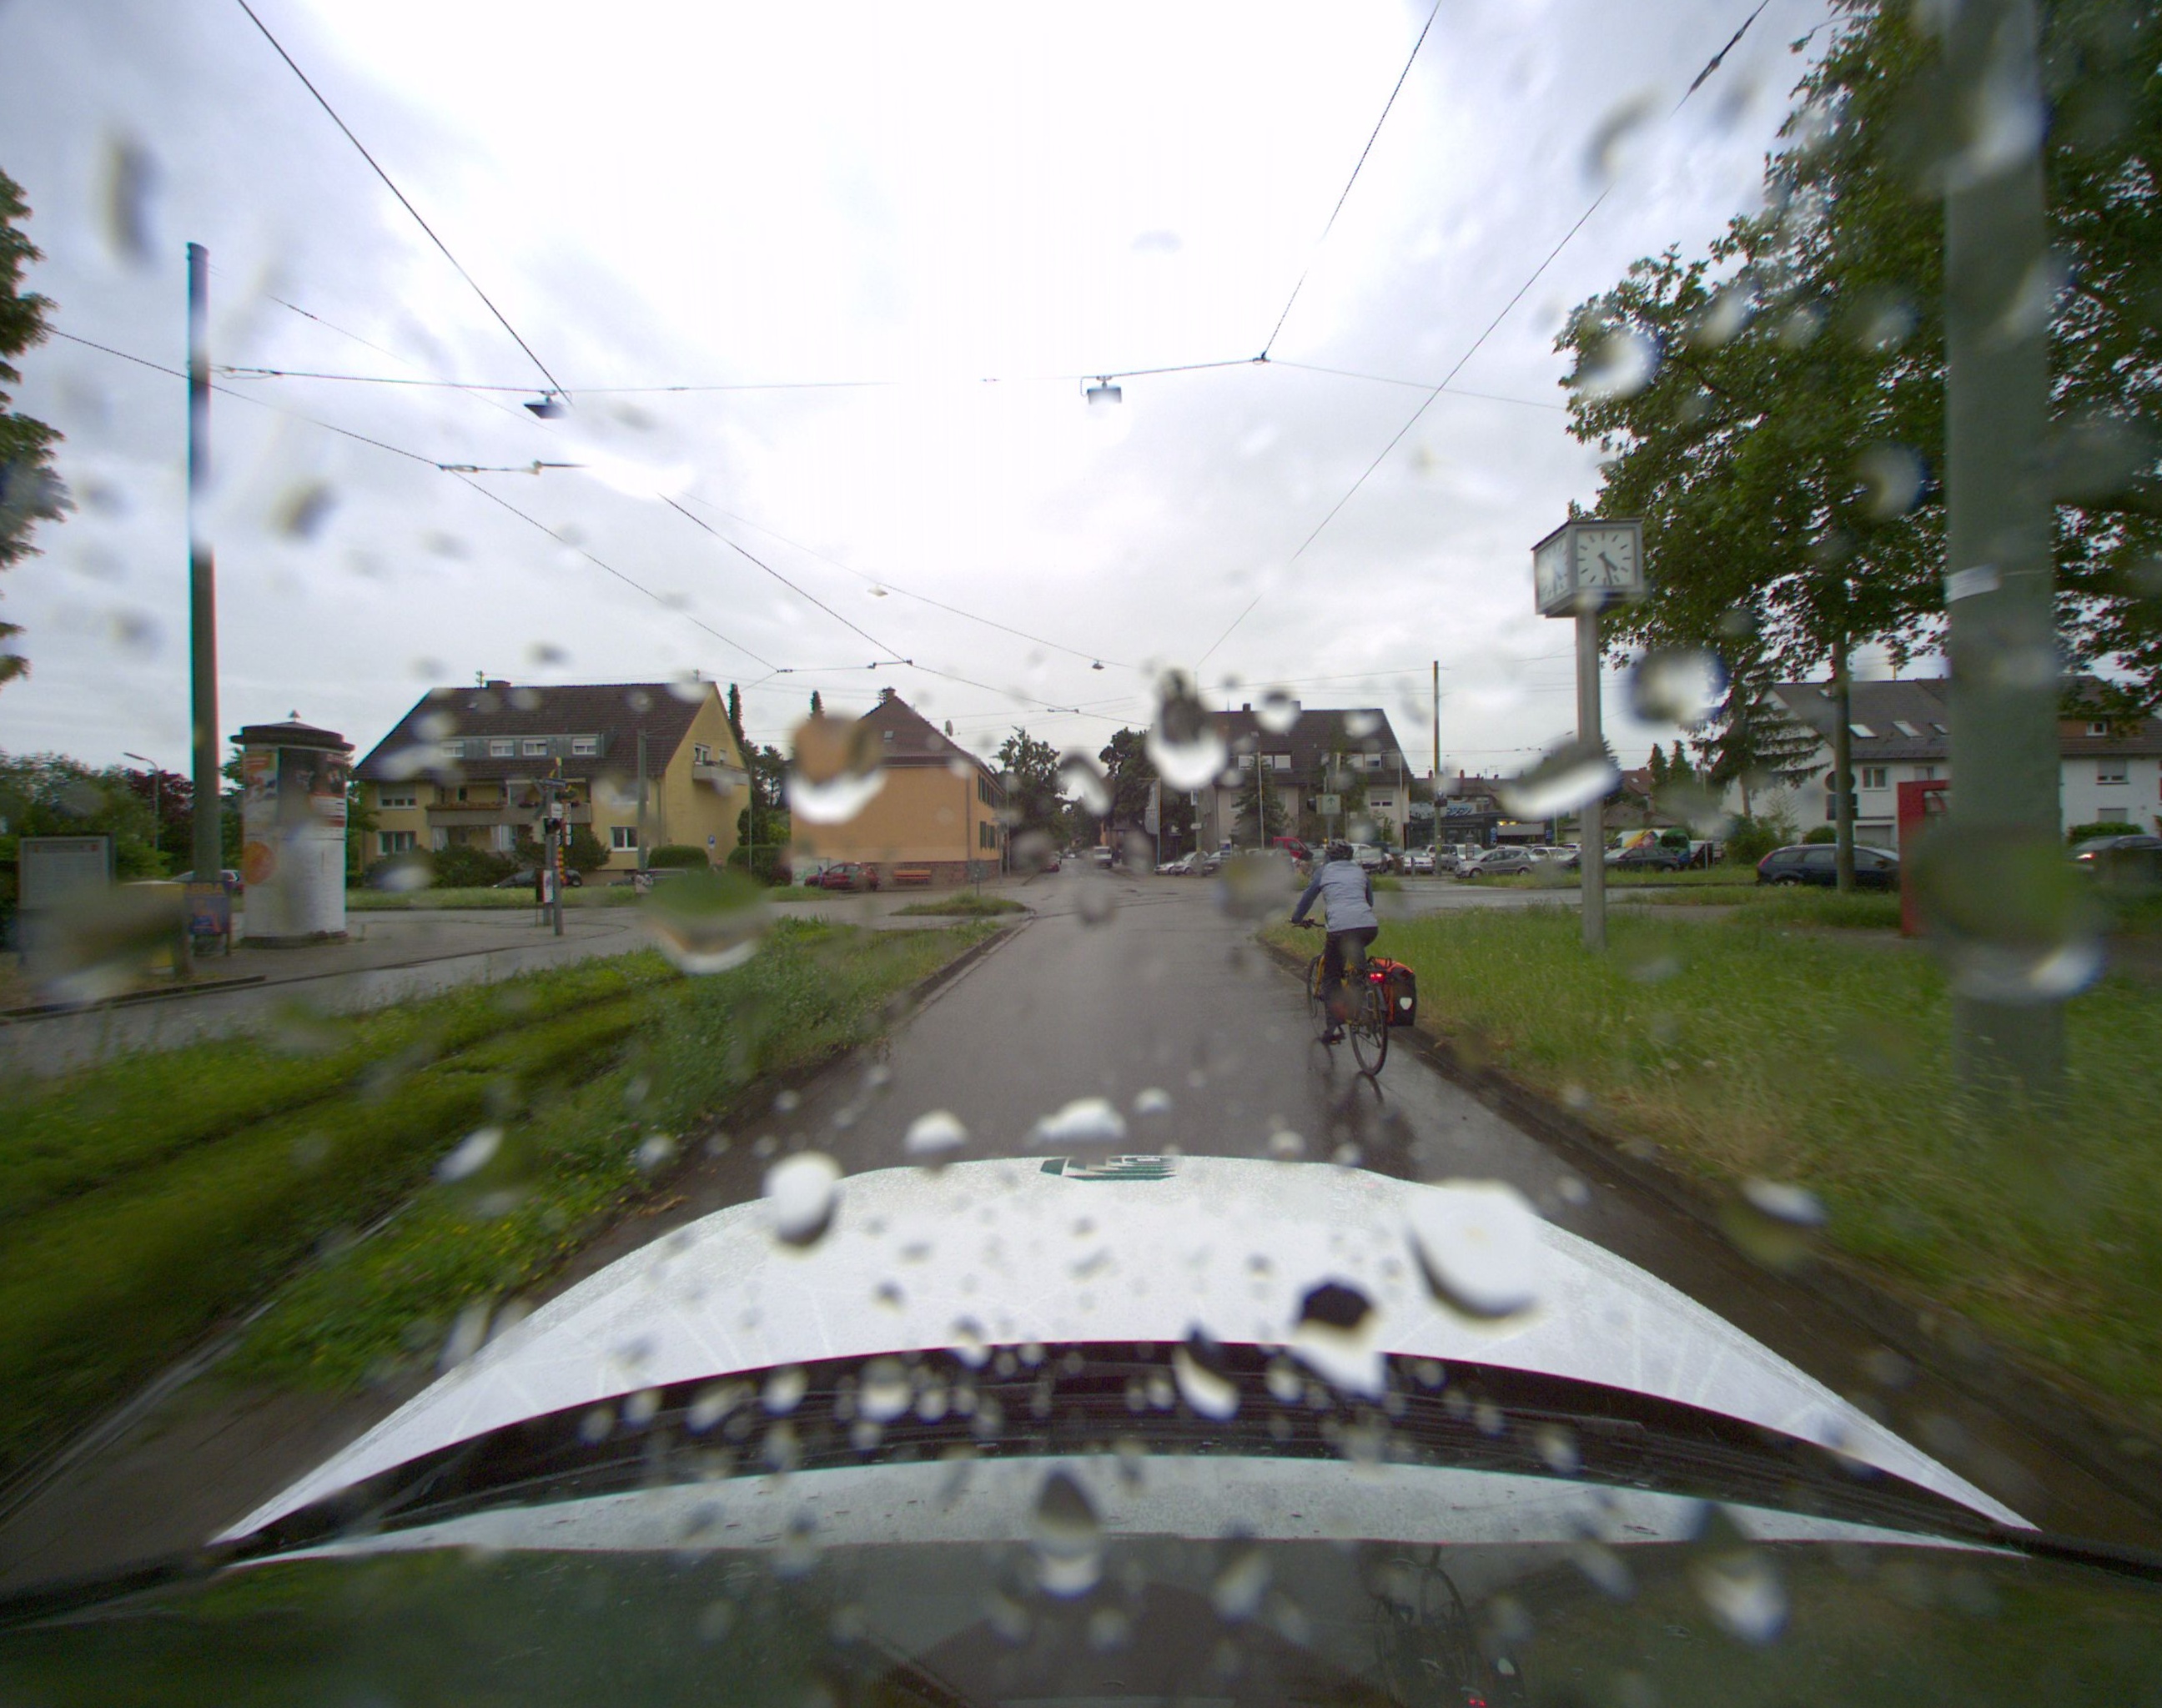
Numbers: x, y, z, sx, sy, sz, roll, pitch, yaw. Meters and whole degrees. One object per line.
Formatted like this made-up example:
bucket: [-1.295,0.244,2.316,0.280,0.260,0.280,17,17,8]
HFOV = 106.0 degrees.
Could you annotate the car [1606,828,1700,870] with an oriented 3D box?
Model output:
car: [34.522,-0.292,49.391,2.138,2.406,5.149,1,0,1]

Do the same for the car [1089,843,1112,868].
car: [2.049,0.158,85.565,2.147,2.572,4.131,1,0,-2]

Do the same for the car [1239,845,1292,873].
car: [11.046,0.290,48.572,1.784,1.578,3.897,-2,0,33]

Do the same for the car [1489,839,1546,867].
car: [25.855,-0.051,48.350,1.709,1.573,3.621,1,0,4]

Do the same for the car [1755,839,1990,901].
car: [20.932,0.403,21.733,1.809,1.476,4.138,-1,0,-29]

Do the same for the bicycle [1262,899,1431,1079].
bicycle: [1.971,0.950,6.363,0.749,1.073,1.928,-2,0,3]

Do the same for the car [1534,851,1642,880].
car: [25.646,0.580,41.276,4.357,1.339,1.724,2,0,2]

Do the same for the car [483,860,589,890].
car: [-26.749,1.019,40.065,3.977,1.332,1.758,1,0,-3]

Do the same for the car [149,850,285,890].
car: [-40.514,0.735,38.295,3.982,1.794,1.995,1,0,-7]

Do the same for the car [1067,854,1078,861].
car: [-2.230,0.844,206.389,1.832,1.697,4.010,1,0,-16]

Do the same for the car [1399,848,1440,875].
car: [19.791,0.412,47.789,1.813,1.504,4.076,1,0,17]

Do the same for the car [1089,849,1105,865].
car: [2.051,0.349,102.898,1.987,2.013,4.000,1,0,1]

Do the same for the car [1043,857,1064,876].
car: [-2.595,1.223,78.165,1.988,1.750,3.997,-1,-1,-1]

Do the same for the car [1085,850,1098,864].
car: [1.599,0.436,123.500,1.823,2.013,3.999,1,0,-1]

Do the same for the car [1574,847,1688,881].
car: [25.754,0.447,38.232,3.975,1.476,1.999,-1,0,-1]

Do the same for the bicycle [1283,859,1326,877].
bicycle: [10.813,0.679,39.504,1.808,0.786,0.942,-2,0,-1]

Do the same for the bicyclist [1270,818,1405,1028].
bicyclist: [1.944,0.500,6.289,0.748,1.485,0.847,-2,-1,3]

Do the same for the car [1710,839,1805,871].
car: [39.938,0.076,48.149,3.869,1.565,2.000,-4,0,0]

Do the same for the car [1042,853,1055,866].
car: [-4.944,0.836,124.162,1.823,2.013,3.997,1,0,-2]

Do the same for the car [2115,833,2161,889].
car: [30.439,0.150,21.659,1.761,1.506,3.478,1,-3,-35]

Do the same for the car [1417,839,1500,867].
car: [24.080,-0.048,52.051,4.414,1.687,1.761,-1,-1,3]

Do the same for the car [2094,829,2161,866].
car: [49.187,-0.254,36.813,4.546,1.605,1.998,1,0,-3]

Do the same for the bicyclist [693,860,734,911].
bicyclist: [-11.561,0.984,25.636,0.908,1.558,0.833,0,-1,-2]

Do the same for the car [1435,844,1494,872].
car: [22.656,0.235,48.292,1.794,1.578,3.874,-2,0,2]

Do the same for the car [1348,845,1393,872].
car: [17.065,0.289,47.842,1.810,1.504,4.083,1,0,29]

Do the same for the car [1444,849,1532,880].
car: [20.611,0.534,41.316,3.621,1.504,1.722,1,0,-1]

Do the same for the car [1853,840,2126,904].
car: [23.851,0.441,21.627,1.807,1.476,4.512,-1,0,-25]

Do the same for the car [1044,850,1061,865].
car: [-3.758,0.476,108.260,1.987,2.013,4.000,1,0,1]

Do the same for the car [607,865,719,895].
car: [-20.719,1.266,40.514,4.478,1.396,1.966,-1,0,-2]

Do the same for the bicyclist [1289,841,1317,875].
bicyclist: [10.778,0.189,39.537,1.036,1.598,0.949,-2,0,-1]

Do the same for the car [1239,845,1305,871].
car: [12.612,0.282,53.716,3.932,1.598,2.010,-2,-1,20]

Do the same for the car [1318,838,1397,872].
car: [17.777,0.070,52.583,4.414,2.014,2.001,-1,-1,3]

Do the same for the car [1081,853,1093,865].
car: [1.020,0.799,142.615,1.823,2.013,3.997,1,0,-2]

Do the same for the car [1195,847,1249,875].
car: [8.709,0.424,50.030,1.784,1.578,3.897,-2,0,33]

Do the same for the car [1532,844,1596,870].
car: [28.226,0.182,47.707,1.709,1.396,3.846,1,0,4]

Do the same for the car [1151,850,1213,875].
car: [7.059,0.589,56.746,3.871,1.578,1.796,-2,0,-19]

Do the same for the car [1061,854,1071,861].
car: [-3.919,0.825,211.828,1.832,1.697,4.010,1,0,-16]

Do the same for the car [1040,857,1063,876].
car: [-2.647,1.101,73.419,1.988,1.618,3.997,-1,-1,-1]

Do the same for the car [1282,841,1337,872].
car: [13.470,0.134,47.912,1.974,1.717,4.026,-2,-1,33]

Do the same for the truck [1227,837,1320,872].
truck: [13.431,0.080,56.714,6.031,2.272,2.010,-2,-1,20]

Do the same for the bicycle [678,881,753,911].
bicycle: [-11.467,1.310,25.622,1.974,0.912,0.823,0,-1,-2]

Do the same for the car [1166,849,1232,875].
car: [7.764,0.496,53.697,3.871,1.578,1.796,-2,0,-19]

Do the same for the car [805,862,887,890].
car: [-11.786,1.096,41.040,3.596,1.339,1.721,1,0,-2]

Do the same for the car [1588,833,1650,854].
car: [42.443,-0.838,64.222,4.449,1.580,1.781,-1,-1,-21]

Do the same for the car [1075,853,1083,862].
car: [-0.539,0.845,188.089,1.823,2.013,3.997,1,0,-2]
